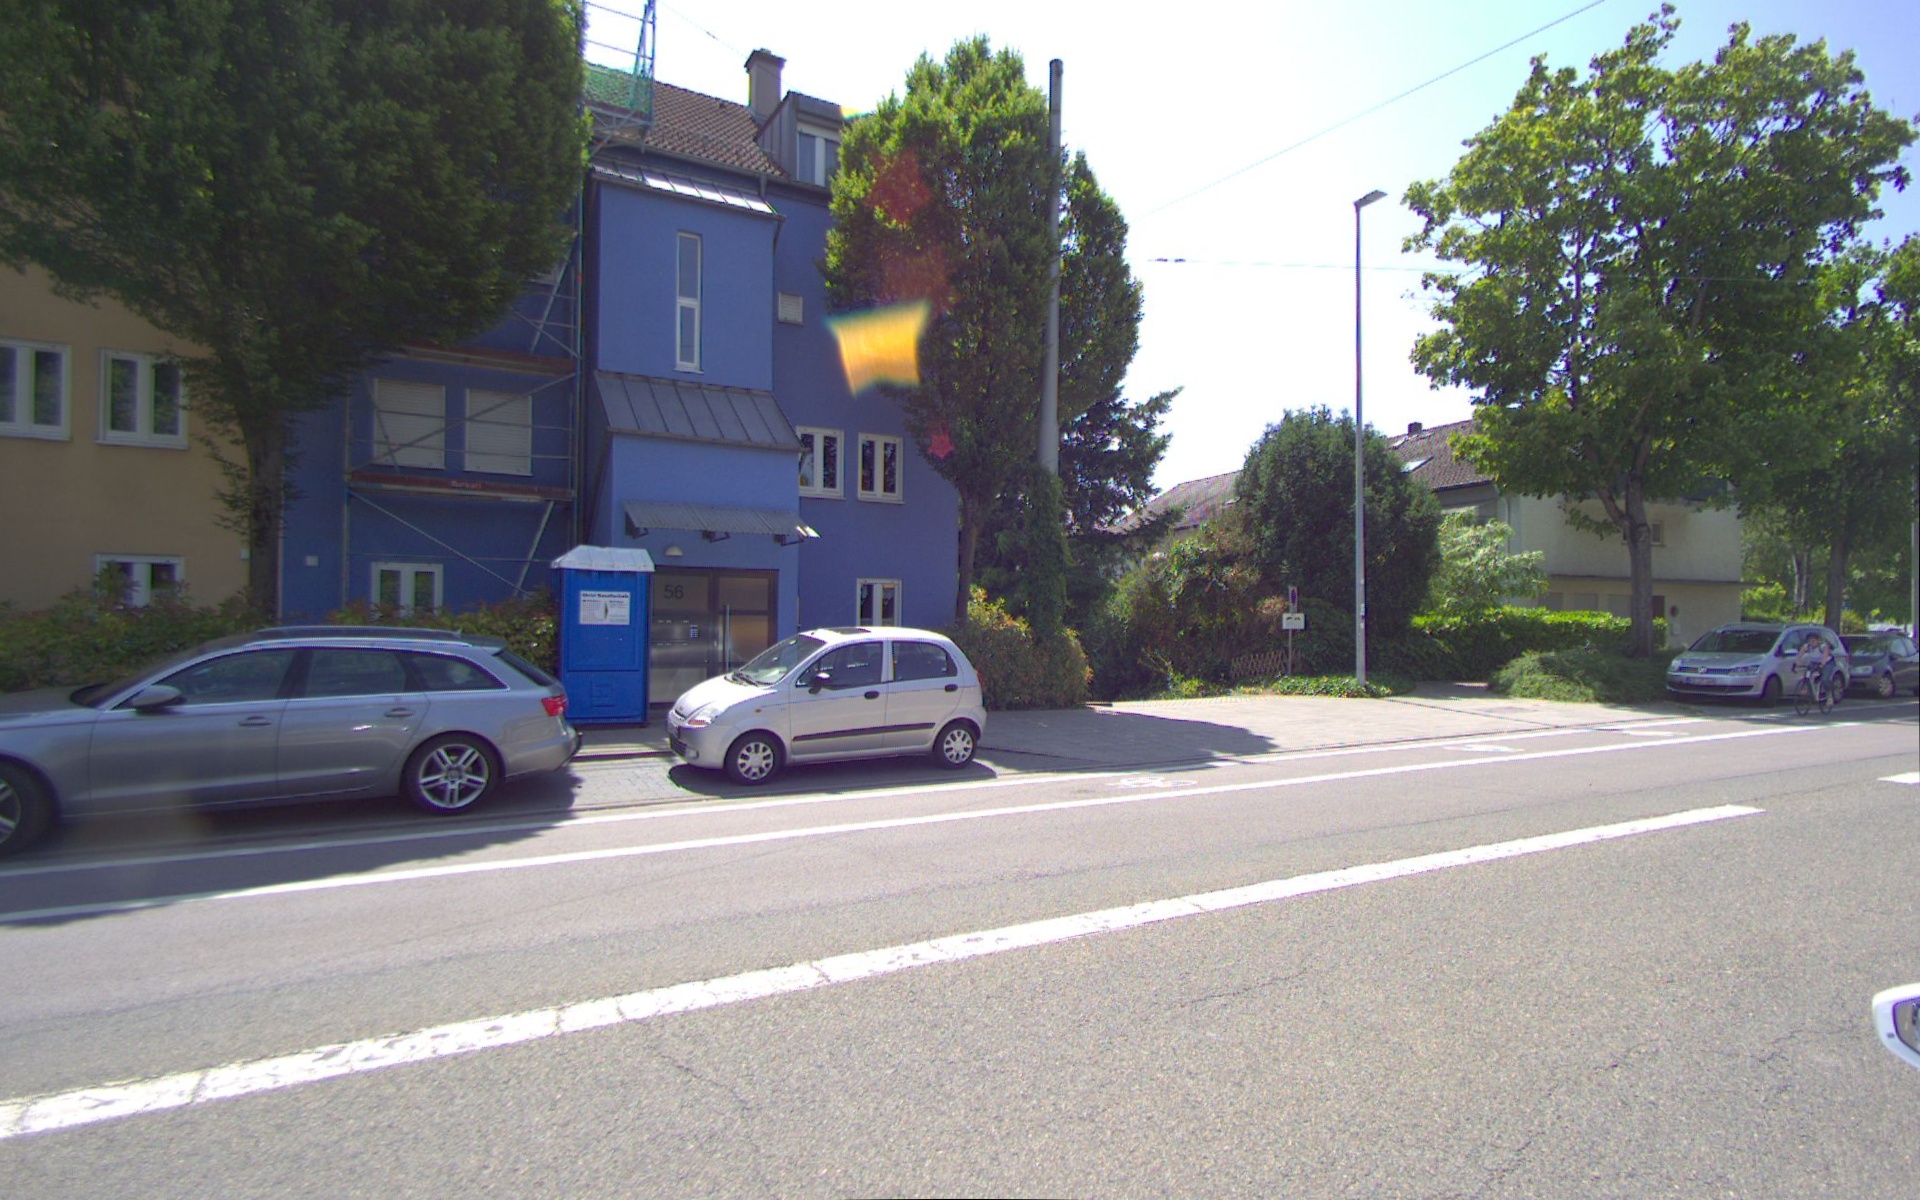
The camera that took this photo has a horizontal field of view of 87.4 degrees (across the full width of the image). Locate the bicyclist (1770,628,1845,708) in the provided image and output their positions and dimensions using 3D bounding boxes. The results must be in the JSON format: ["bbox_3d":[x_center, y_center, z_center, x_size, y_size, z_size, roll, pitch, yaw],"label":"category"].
[{"bbox_3d":[15.827,1.261,18.760,1.113,1.449,0.731,1,-4,-33],"label":"bicyclist"}]

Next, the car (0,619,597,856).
[{"bbox_3d":[-5.814,0.966,8.271,5.074,1.470,1.777,0,3,-31],"label":"car"}]

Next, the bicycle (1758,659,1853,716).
[{"bbox_3d":[15.779,1.613,18.732,2.219,0.963,0.698,1,-3,-33],"label":"bicycle"}]

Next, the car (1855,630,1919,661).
[{"bbox_3d":[50.675,2.429,53.367,1.891,1.606,4.321,1,-2,-31],"label":"car"}]

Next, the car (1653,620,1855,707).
[{"bbox_3d":[17.274,1.299,21.798,4.725,1.687,1.864,1,-1,-30],"label":"car"}]

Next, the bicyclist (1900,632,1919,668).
[{"bbox_3d":[38.079,2.000,39.921,0.817,1.392,0.806,2,0,-27],"label":"bicyclist"}]

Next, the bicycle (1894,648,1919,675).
[{"bbox_3d":[38.025,2.448,39.917,1.805,1.043,0.698,2,0,-27],"label":"bicycle"}]

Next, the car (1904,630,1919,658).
[{"bbox_3d":[55.293,2.460,55.417,1.886,1.606,4.333,1,-2,-23],"label":"car"}]

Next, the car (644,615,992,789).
[{"bbox_3d":[-1.534,1.004,11.001,3.408,1.516,1.585,1,4,-30],"label":"car"}]

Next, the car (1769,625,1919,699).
[{"bbox_3d":[21.587,1.452,24.274,4.132,1.585,1.810,1,0,-31],"label":"car"}]

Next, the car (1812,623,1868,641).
[{"bbox_3d":[91.884,3.317,104.888,1.794,1.638,4.004,2,0,-28],"label":"car"}]
